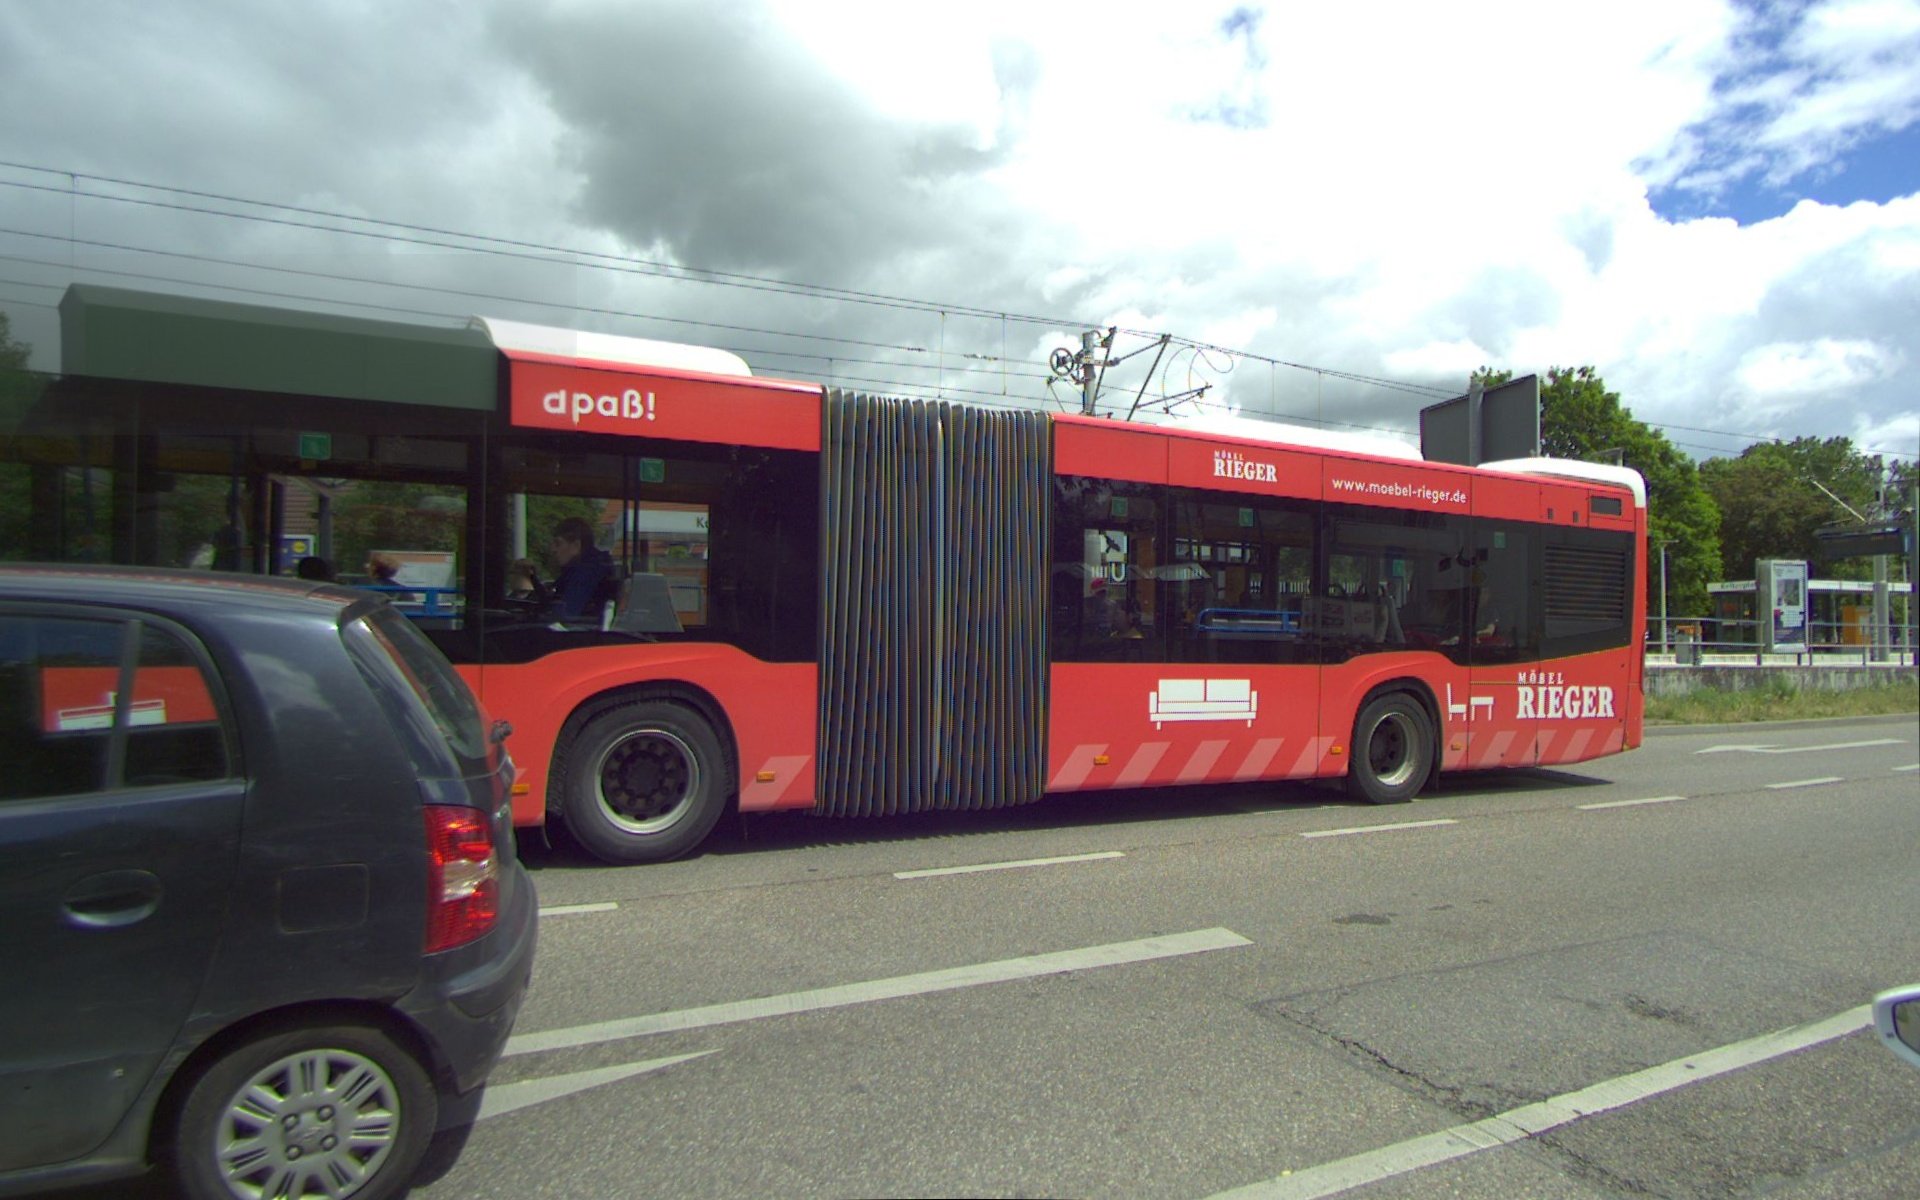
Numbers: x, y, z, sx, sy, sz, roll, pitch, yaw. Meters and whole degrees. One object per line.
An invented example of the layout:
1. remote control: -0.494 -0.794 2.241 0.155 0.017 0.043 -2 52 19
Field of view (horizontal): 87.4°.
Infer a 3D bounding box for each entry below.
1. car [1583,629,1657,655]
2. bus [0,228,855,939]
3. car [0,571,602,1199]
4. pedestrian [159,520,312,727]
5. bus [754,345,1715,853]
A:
1. car: 46.796 2.934 71.305 1.948 1.706 3.976 0 -1 -25
2. bus: -5.539 -0.062 5.356 9.569 3.150 2.719 1 -1 -24
3. car: -2.894 0.706 2.423 3.682 1.571 1.525 2 0 -25
4. pedestrian: -7.553 0.263 10.539 1.014 2.040 0.969 2 -2 -21
5. bus: 2.812 0.121 9.222 8.839 3.110 2.719 1 -2 -24
